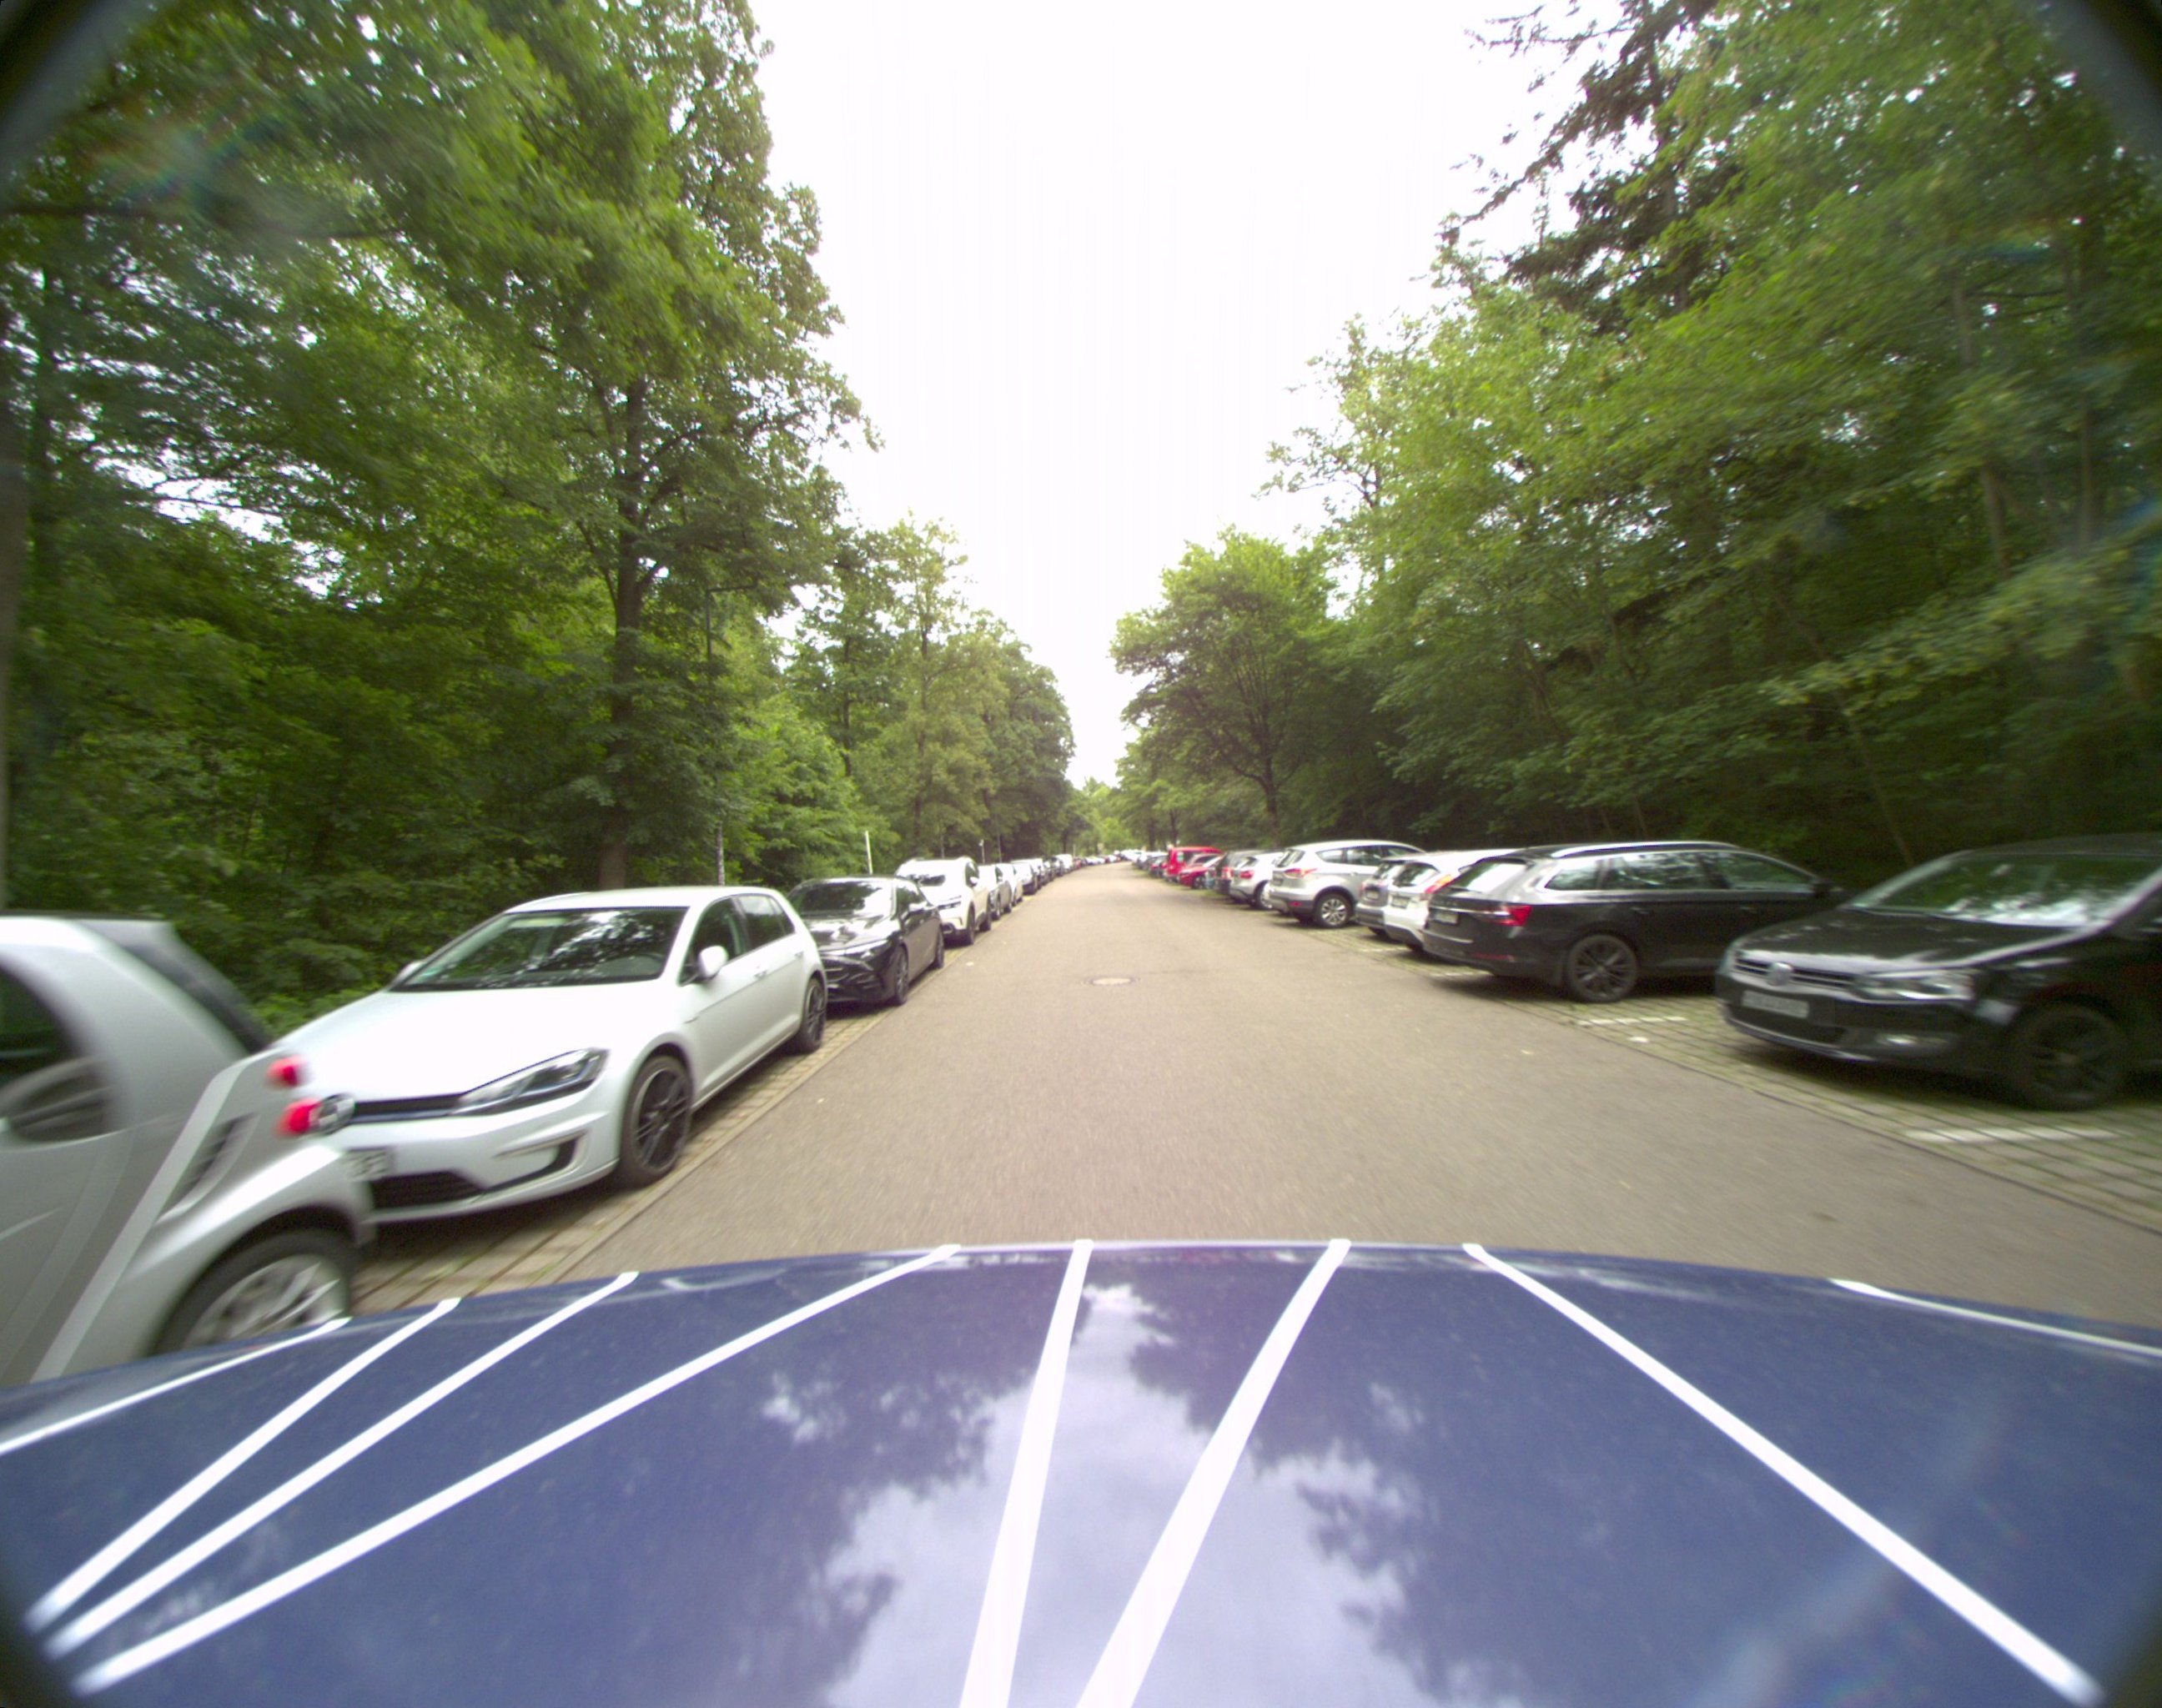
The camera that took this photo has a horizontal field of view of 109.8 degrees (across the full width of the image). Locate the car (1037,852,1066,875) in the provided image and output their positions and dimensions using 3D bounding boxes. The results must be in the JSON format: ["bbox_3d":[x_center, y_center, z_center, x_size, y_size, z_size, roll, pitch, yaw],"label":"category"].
[{"bbox_3d":[-2.347,0.765,61.526,1.909,1.713,4.486,-3,0,3],"label":"car"}]

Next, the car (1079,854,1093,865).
[{"bbox_3d":[0.689,0.788,108.509,1.501,1.470,3.667,-3,0,7],"label":"car"}]

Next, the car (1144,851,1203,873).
[{"bbox_3d":[6.947,0.604,57.543,4.221,1.528,1.818,-2,0,1],"label":"car"}]

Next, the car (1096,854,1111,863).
[{"bbox_3d":[3.803,0.779,126.818,1.771,1.308,3.894,-3,0,13],"label":"car"}]

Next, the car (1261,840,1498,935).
[{"bbox_3d":[5.852,0.631,15.253,3.997,1.652,1.814,-2,0,-1],"label":"car"}]

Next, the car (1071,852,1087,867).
[{"bbox_3d":[-0.212,0.609,86.845,1.642,1.561,3.666,-3,0,3],"label":"car"}]

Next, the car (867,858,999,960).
[{"bbox_3d":[-2.826,0.966,15.628,1.741,1.634,5.071,-3,0,-1],"label":"car"}]

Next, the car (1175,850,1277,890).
[{"bbox_3d":[6.137,0.662,32.540,3.997,1.507,1.771,-2,0,1],"label":"car"}]

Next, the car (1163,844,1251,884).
[{"bbox_3d":[6.171,0.486,37.466,3.997,1.804,1.818,-2,0,0],"label":"car"}]

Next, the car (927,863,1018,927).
[{"bbox_3d":[-2.901,1.047,21.317,1.740,1.471,4.769,-3,0,1],"label":"car"}]

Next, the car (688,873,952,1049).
[{"bbox_3d":[-2.862,1.071,9.516,1.741,1.465,4.604,-3,0,-1],"label":"car"}]

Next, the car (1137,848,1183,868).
[{"bbox_3d":[7.224,0.331,70.040,3.998,1.717,1.713,-1,0,-3],"label":"car"}]

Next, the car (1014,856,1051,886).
[{"bbox_3d":[-2.799,0.963,44.742,1.907,1.577,4.480,-3,0,-1],"label":"car"}]

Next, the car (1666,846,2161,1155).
[{"bbox_3d":[6.286,0.732,4.659,3.996,1.427,1.677,-3,0,2],"label":"car"}]

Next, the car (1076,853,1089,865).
[{"bbox_3d":[0.175,0.657,102.083,1.502,1.470,3.666,-3,0,3],"label":"car"}]

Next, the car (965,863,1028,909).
[{"bbox_3d":[-2.918,1.070,27.050,1.741,1.398,4.427,-3,0,-1],"label":"car"}]

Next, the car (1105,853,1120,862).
[{"bbox_3d":[5.600,0.584,135.271,1.771,1.308,3.893,-3,1,13],"label":"car"}]

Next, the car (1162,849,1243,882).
[{"bbox_3d":[6.354,0.585,40.135,3.996,1.588,1.742,-2,0,3],"label":"car"}]

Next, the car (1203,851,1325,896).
[{"bbox_3d":[6.511,0.681,27.290,3.996,1.440,1.696,-1,0,3],"label":"car"}]

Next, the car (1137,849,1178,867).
[{"bbox_3d":[7.782,0.401,77.673,3.998,1.699,1.713,-1,0,-3],"label":"car"}]

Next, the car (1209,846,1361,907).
[{"bbox_3d":[5.975,0.636,22.562,3.997,1.652,1.696,-1,0,-1],"label":"car"}]

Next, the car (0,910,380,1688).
[{"bbox_3d":[-3.138,1.003,0.429,1.741,1.559,4.007,-3,0,-1],"label":"car"}]

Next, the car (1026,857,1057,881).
[{"bbox_3d":[-2.598,0.959,50.756,1.824,1.433,4.000,-2,0,0],"label":"car"}]

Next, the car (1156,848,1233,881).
[{"bbox_3d":[6.268,0.580,42.391,3.996,1.587,1.742,-3,0,3],"label":"car"}]

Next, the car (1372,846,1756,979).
[{"bbox_3d":[6.202,0.720,10.099,3.996,1.427,1.648,-3,2,2],"label":"car"}]

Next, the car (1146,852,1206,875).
[{"bbox_3d":[6.845,0.685,54.989,4.220,1.447,1.818,-2,0,4],"label":"car"}]

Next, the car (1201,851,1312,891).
[{"bbox_3d":[6.916,0.655,30.185,3.997,1.440,1.771,-2,0,1],"label":"car"}]

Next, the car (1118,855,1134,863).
[{"bbox_3d":[8.644,0.954,146.012,1.770,1.308,3.896,-3,0,25],"label":"car"}]

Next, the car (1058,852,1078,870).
[{"bbox_3d":[-1.338,0.662,78.837,1.642,1.742,4.055,-3,0,3],"label":"car"}]

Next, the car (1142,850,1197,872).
[{"bbox_3d":[6.958,0.565,59.976,3.998,1.508,1.713,-3,1,-4],"label":"car"}]

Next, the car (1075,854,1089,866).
[{"bbox_3d":[0.201,0.725,97.143,1.502,1.470,3.666,-3,0,3],"label":"car"}]

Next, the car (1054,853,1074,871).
[{"bbox_3d":[-1.618,0.755,72.848,1.580,1.610,3.963,-3,0,3],"label":"car"}]

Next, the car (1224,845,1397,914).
[{"bbox_3d":[5.963,0.642,20.094,3.997,1.652,1.814,-1,0,1],"label":"car"}]

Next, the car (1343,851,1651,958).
[{"bbox_3d":[6.623,0.769,12.417,3.997,1.413,1.814,-3,0,-1],"label":"car"}]

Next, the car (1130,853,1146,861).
[{"bbox_3d":[11.320,0.590,150.597,1.770,1.308,3.896,-3,0,25],"label":"car"}]

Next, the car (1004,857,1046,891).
[{"bbox_3d":[-2.860,0.974,39.364,1.843,1.551,4.423,-3,0,-1],"label":"car"}]

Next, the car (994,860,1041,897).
[{"bbox_3d":[-2.782,1.039,34.259,1.741,1.426,4.744,-3,0,-1],"label":"car"}]

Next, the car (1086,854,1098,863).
[{"bbox_3d":[1.660,0.672,114.438,1.501,1.331,3.434,-3,0,7],"label":"car"}]

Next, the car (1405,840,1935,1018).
[{"bbox_3d":[5.684,0.690,7.739,3.996,1.427,1.677,-3,0,2],"label":"car"}]

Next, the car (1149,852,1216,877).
[{"bbox_3d":[6.349,0.665,47.647,3.996,1.413,1.742,-2,0,3],"label":"car"}]

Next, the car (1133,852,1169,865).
[{"bbox_3d":[8.236,0.509,90.009,3.998,1.469,1.713,-1,0,-2],"label":"car"}]

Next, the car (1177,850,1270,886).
[{"bbox_3d":[6.598,0.645,35.481,3.997,1.507,1.818,-2,0,1],"label":"car"}]

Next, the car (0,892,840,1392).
[{"bbox_3d":[-3.016,1.088,4.676,1.741,1.416,4.153,-3,0,-1],"label":"car"}]
